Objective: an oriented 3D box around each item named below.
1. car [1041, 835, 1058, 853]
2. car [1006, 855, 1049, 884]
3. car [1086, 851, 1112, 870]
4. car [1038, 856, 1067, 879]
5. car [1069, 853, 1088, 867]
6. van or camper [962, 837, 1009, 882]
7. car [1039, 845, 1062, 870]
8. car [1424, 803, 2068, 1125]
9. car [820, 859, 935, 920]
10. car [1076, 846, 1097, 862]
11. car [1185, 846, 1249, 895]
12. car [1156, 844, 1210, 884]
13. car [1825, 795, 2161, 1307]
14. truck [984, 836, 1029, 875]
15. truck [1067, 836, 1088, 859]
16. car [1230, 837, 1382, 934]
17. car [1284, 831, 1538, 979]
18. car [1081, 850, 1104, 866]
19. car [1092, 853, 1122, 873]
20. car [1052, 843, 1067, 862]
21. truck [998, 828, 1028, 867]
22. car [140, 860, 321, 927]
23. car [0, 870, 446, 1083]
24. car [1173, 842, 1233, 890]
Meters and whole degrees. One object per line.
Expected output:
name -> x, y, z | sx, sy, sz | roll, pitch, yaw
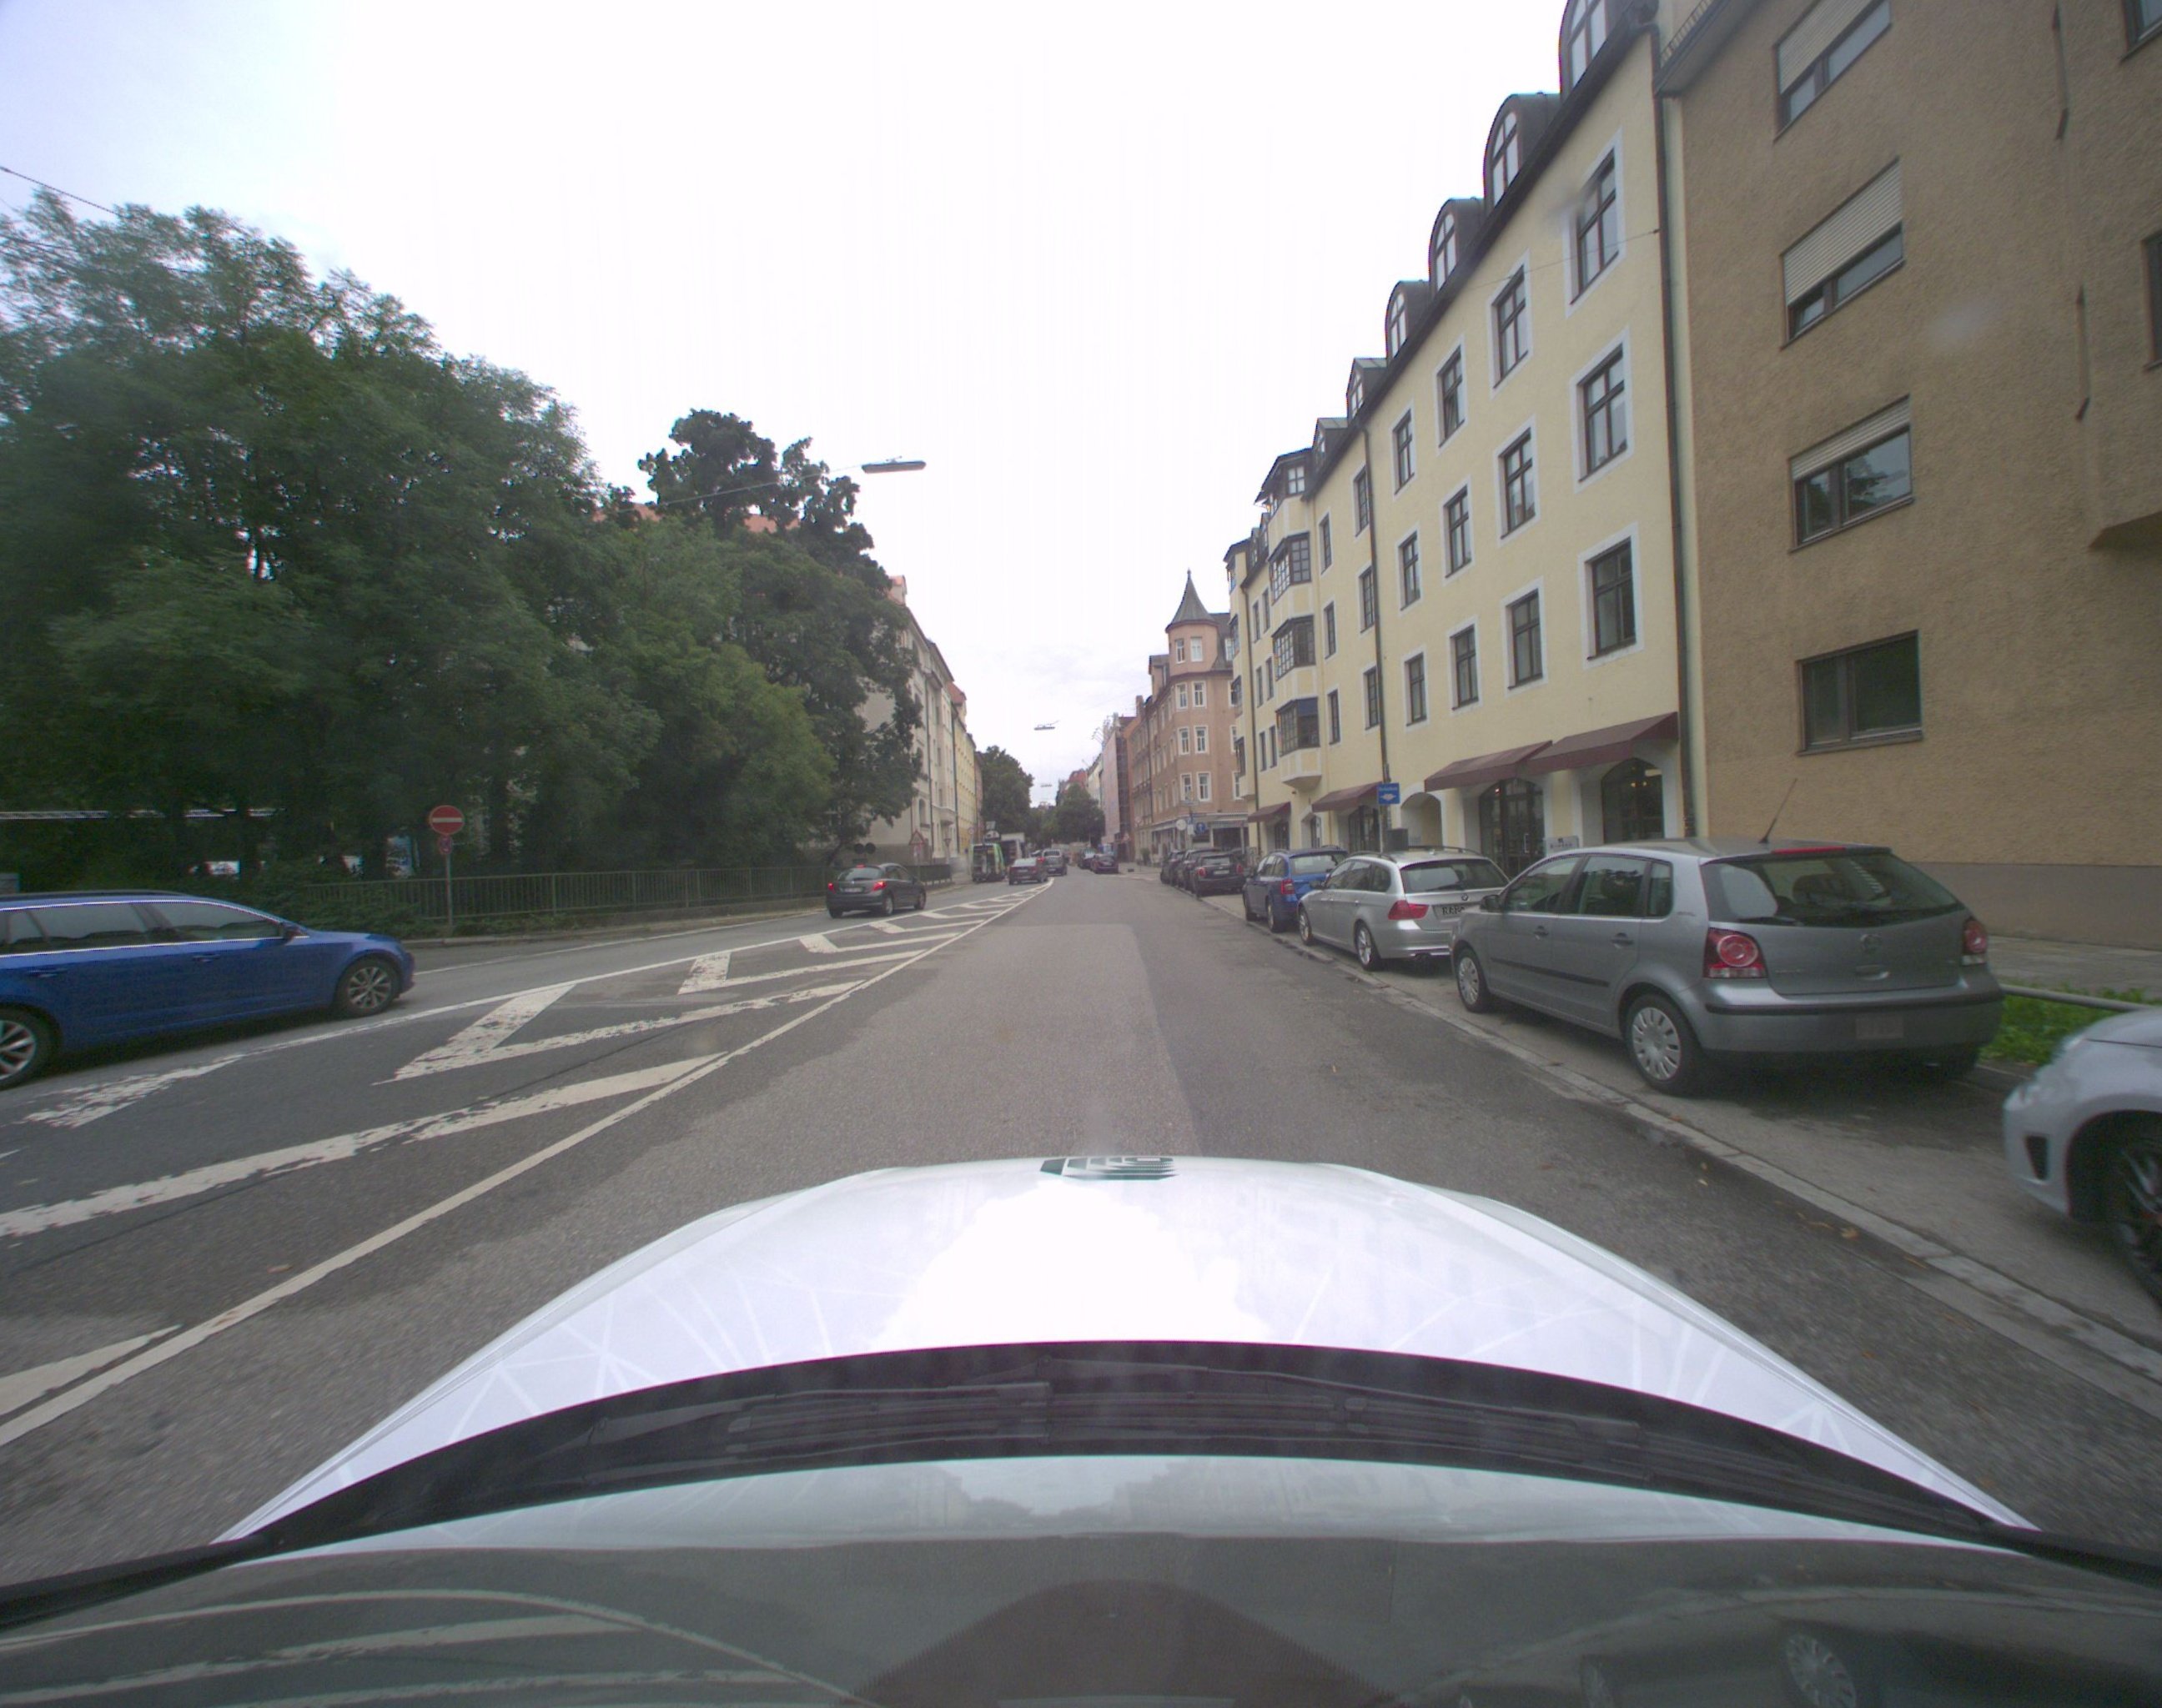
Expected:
car -> -3.971, -1.247, 101.256 | 1.989, 2.013, 3.996 | -3, 0, -3
car -> -3.050, 0.850, 47.111 | 1.983, 1.429, 4.907 | -3, 1, 1
car -> 1.489, 0.510, 67.841 | 1.840, 1.429, 4.135 | 0, 1, -4
car -> -2.044, 0.938, 59.610 | 1.985, 1.429, 4.137 | -3, 1, -2
car -> -0.295, 0.692, 94.005 | 1.985, 1.429, 4.137 | -3, 1, -2
van or camper -> -6.545, 0.331, 56.572 | 2.594, 2.840, 6.181 | -3, 1, -2
car -> -2.720, 0.256, 73.099 | 1.985, 2.075, 4.137 | -3, 1, -2
car -> 4.118, 0.544, 5.969 | 1.622, 1.496, 3.788 | -4, 0, 2
car -> -5.781, 0.962, 23.635 | 1.749, 1.461, 4.084 | -3, 0, 8
car -> 0.515, -0.018, 84.208 | 1.985, 1.429, 4.137 | -3, 1, -2
car -> 4.664, 0.526, 28.413 | 1.749, 1.496, 3.827 | -4, 0, 4
car -> 4.788, 0.460, 38.745 | 1.813, 1.679, 4.508 | -4, 0, -1
car -> 3.945, 0.548, 1.516 | 1.622, 1.496, 3.822 | -4, 0, 2
truck -> -6.057, 0.061, 67.135 | 2.764, 2.872, 7.203 | -3, 1, 1
truck -> -0.524, -0.899, 110.120 | 2.486, 2.973, 5.322 | -2, 0, -3
car -> 4.176, 0.522, 15.883 | 1.750, 1.496, 4.489 | -4, 0, 2
car -> 4.159, 0.545, 11.110 | 1.684, 1.496, 4.436 | -4, 0, 2
car -> 1.038, 0.382, 76.290 | 1.840, 1.429, 4.301 | 0, 1, -4
car -> 1.916, 0.645, 61.667 | 1.840, 1.429, 4.178 | 0, 1, -4
car -> -3.047, -0.210, 114.529 | 1.934, 2.480, 4.781 | -2, 0, -1
truck -> -7.439, -0.701, 90.004 | 3.006, 3.951, 6.985 | -2, 0, -4
car -> -33.374, 1.454, 32.250 | 2.302, 2.269, 5.109 | -3, 0, -11
car -> -8.689, 0.978, 7.177 | 1.976, 1.454, 4.746 | -3, 0, 9
car -> 4.889, 0.450, 33.313 | 1.750, 1.679, 4.708 | -4, 0, 1
